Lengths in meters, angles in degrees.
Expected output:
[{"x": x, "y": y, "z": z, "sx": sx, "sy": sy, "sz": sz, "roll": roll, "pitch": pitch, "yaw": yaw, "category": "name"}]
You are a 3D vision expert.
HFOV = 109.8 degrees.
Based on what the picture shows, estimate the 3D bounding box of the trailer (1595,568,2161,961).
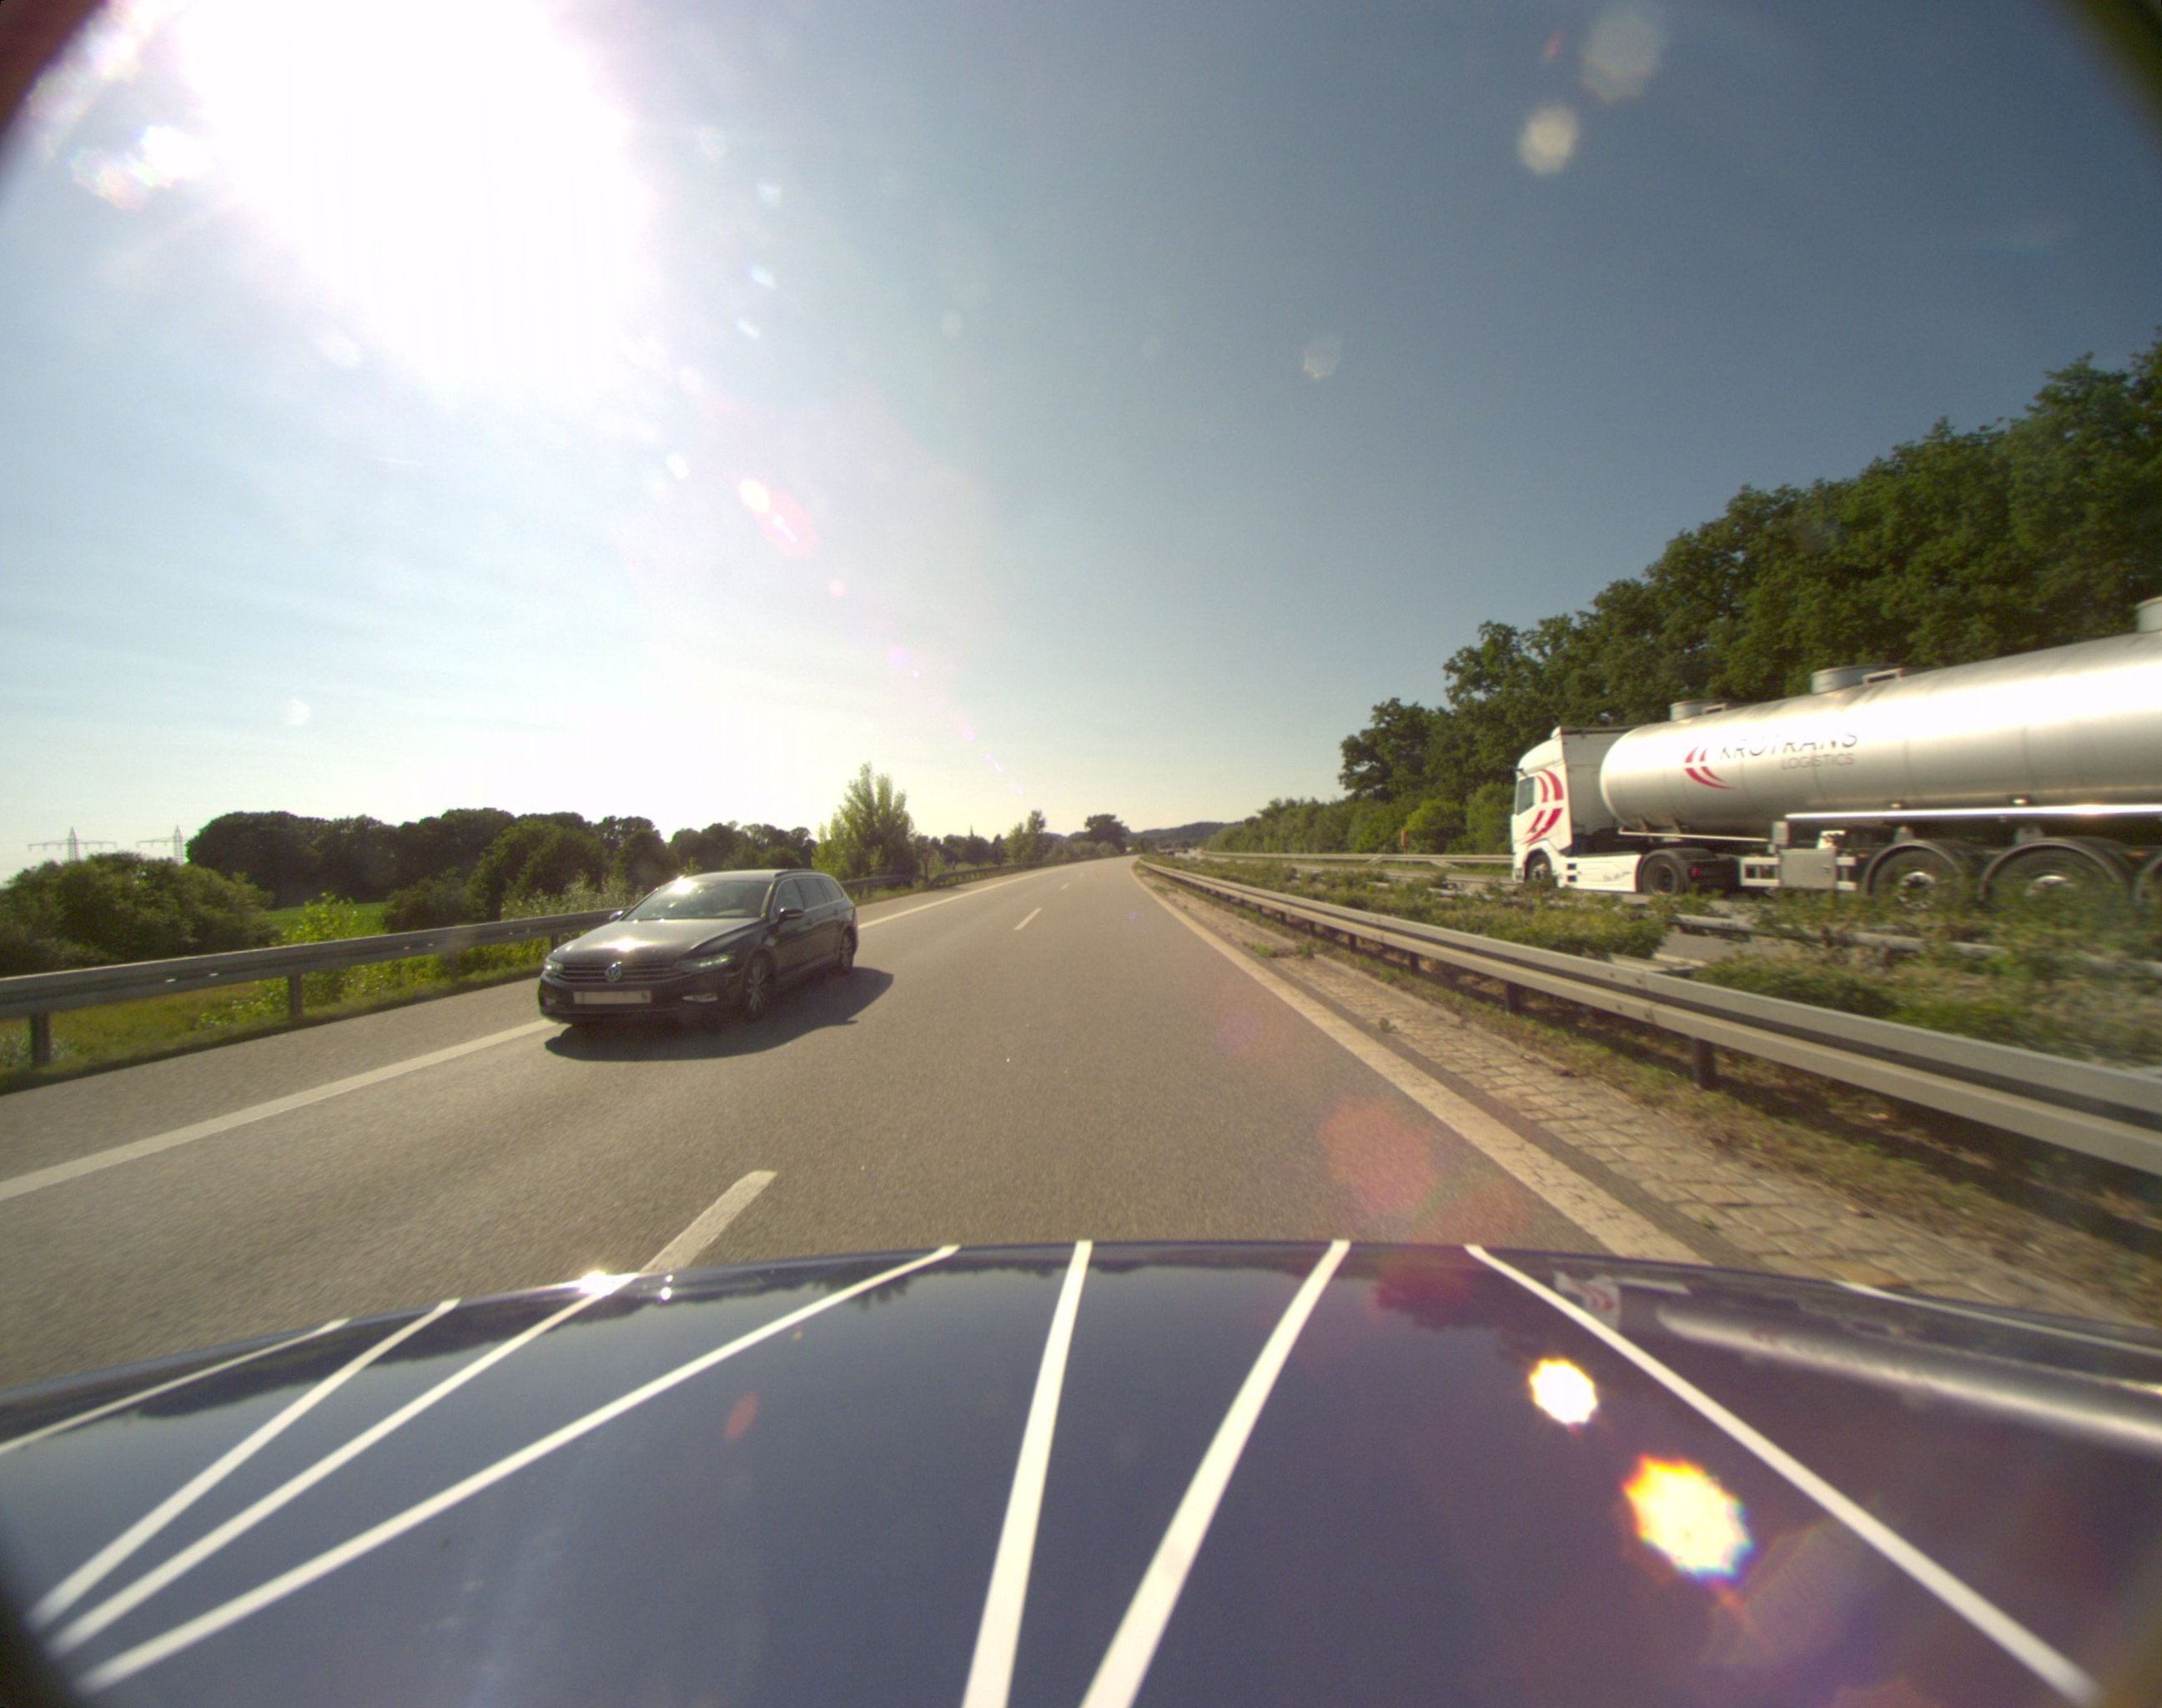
[{"x": 11.586, "y": -0.885, "z": 9.635, "sx": 2.748, "sy": 3.705, "sz": 10.912, "roll": -1, "pitch": 0, "yaw": 0, "category": "trailer"}]

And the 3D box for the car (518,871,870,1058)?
[{"x": -3.928, "y": 1.002, "z": 8.732, "sx": 1.723, "sy": 1.392, "sz": 4.412, "roll": -2, "pitch": 1, "yaw": 0, "category": "car"}]

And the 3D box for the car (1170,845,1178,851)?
[{"x": 21.969, "y": -1.441, "z": 178.826, "sx": 1.732, "sy": 1.420, "sz": 3.883, "roll": -1, "pitch": 1, "yaw": 8, "category": "car"}]

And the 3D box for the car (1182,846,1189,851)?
[{"x": 32.825, "y": -1.763, "z": 238.123, "sx": 1.998, "sy": 1.424, "sz": 4.488, "roll": -1, "pitch": 0, "yaw": 4, "category": "car"}]

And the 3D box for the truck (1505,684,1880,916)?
[{"x": 11.616, "y": -0.893, "z": 15.335, "sx": 2.748, "sy": 3.705, "sz": 5.971, "roll": -1, "pitch": 1, "yaw": 0, "category": "truck"}]
